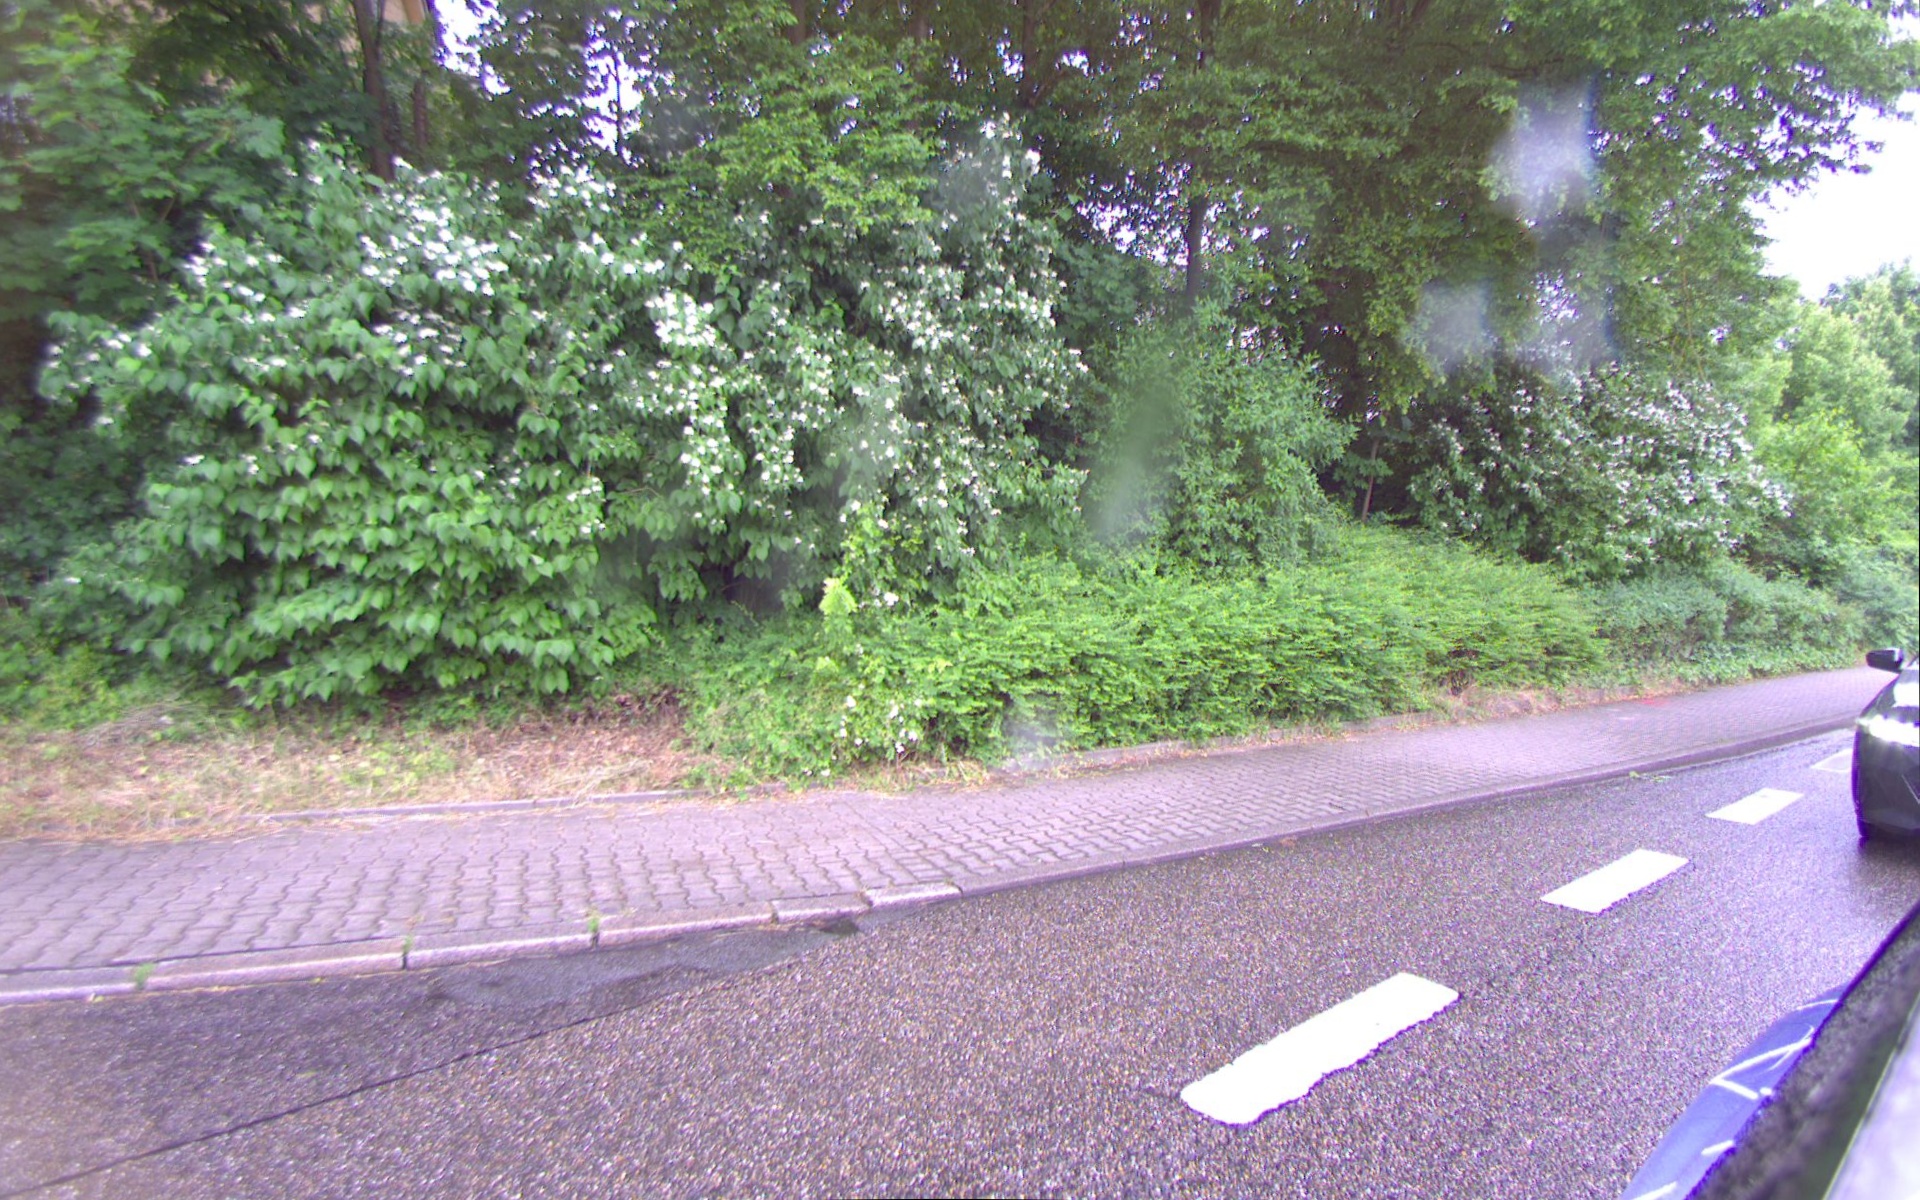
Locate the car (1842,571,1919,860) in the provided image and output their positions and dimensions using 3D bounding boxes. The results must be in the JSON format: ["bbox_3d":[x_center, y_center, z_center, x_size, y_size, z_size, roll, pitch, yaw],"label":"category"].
[{"bbox_3d":[7.094,0.630,6.177,4.123,1.524,1.873,-1,4,-40],"label":"car"}]
